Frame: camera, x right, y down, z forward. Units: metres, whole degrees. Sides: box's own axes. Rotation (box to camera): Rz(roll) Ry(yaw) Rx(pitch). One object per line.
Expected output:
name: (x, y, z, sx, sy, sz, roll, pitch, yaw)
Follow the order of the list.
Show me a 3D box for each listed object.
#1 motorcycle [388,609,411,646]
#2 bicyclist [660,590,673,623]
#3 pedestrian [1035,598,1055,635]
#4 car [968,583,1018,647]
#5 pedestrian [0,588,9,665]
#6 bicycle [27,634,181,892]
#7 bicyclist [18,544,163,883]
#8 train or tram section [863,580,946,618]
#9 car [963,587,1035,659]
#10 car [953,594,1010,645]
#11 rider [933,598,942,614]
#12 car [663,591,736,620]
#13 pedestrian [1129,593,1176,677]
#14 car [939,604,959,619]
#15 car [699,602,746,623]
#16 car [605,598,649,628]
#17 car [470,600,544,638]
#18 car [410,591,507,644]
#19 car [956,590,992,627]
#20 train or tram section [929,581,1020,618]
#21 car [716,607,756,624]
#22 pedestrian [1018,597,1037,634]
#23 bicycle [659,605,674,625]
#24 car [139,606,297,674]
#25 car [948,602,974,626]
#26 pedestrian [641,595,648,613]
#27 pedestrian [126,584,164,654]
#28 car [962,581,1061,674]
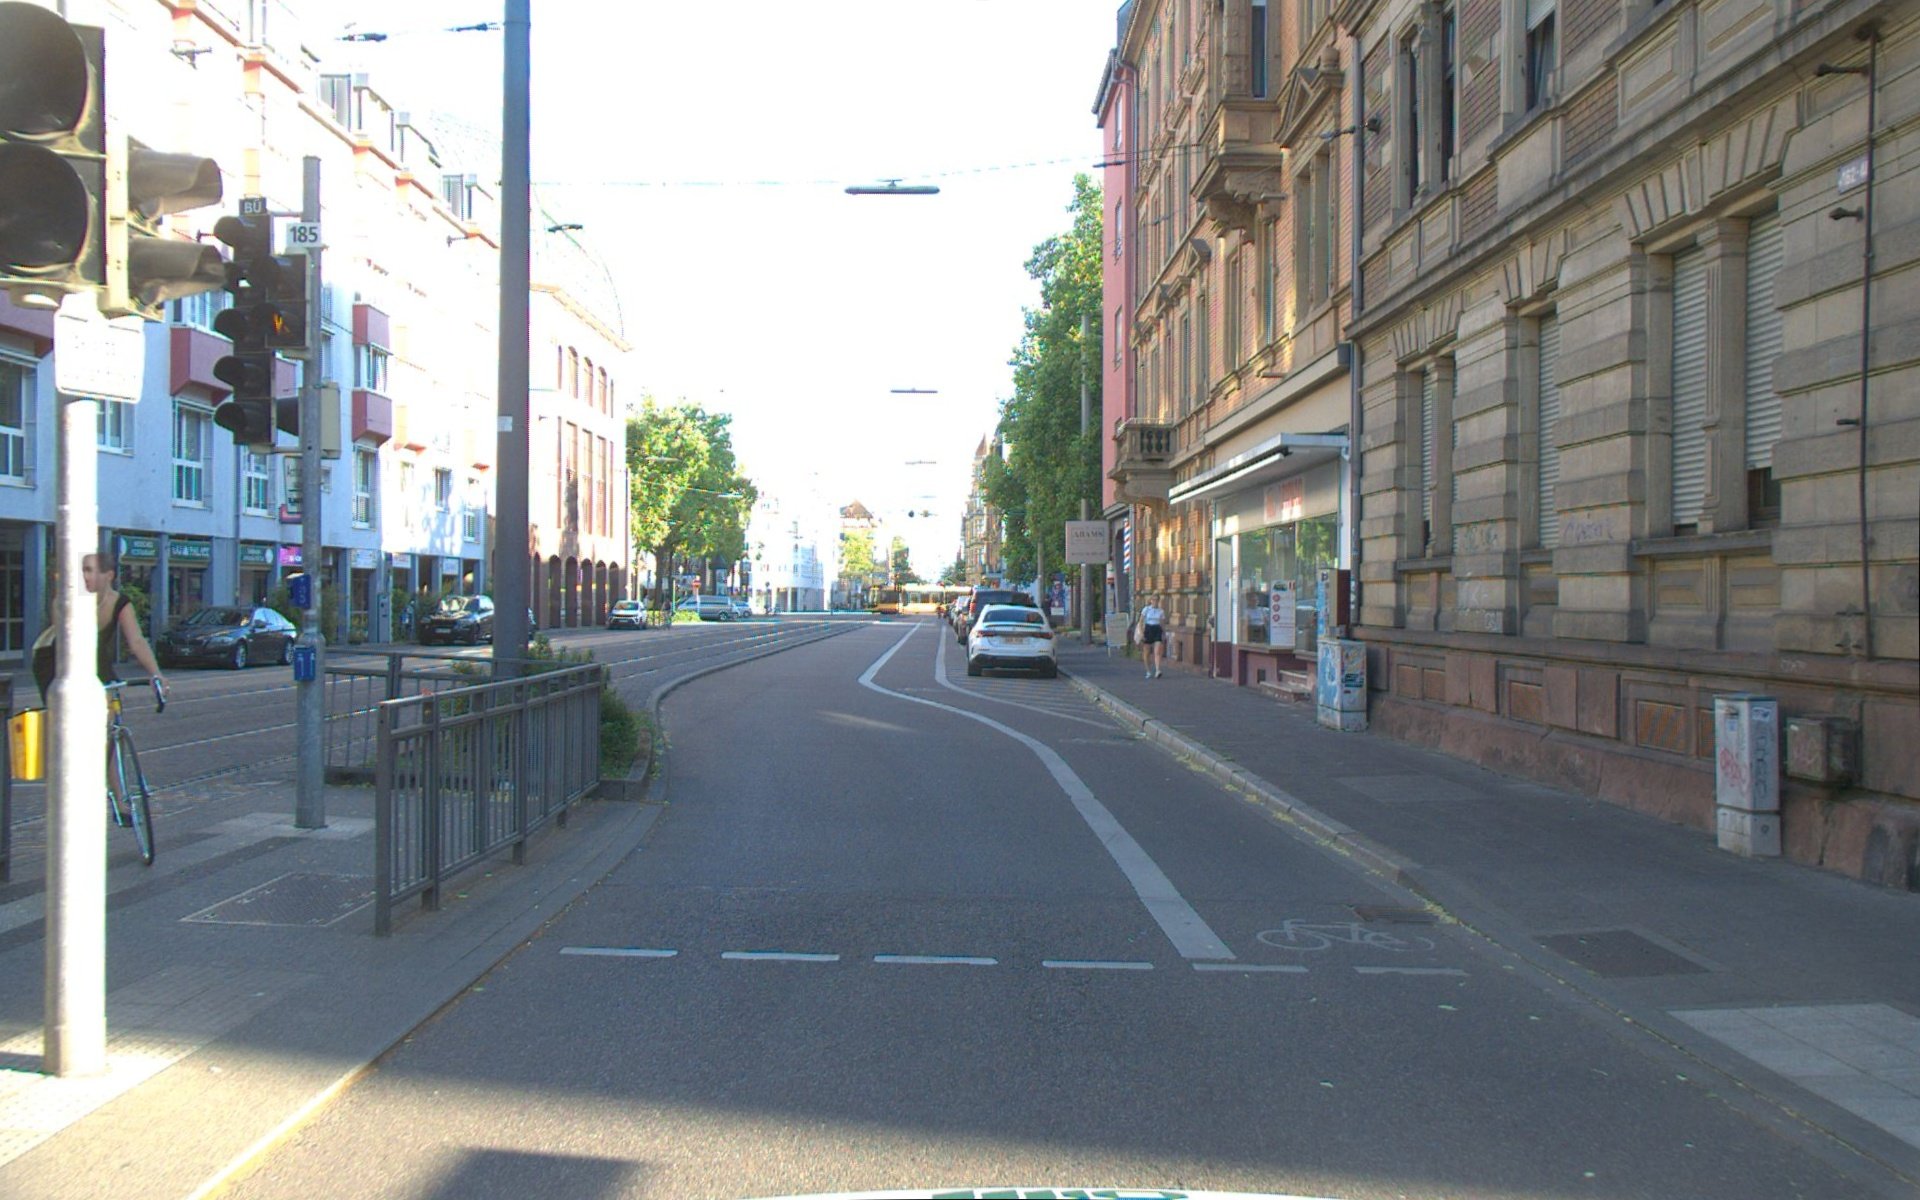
motorcycle: (-19.388, 0.935, 57.225, 0.659, 1.226, 2.130, 2, -1, -17)
bicyclist: (-16.141, 0.358, 90.976, 0.560, 1.742, 0.745, -1, -1, -5)
pedestrian: (3.755, 0.711, 73.195, 0.760, 1.594, 0.914, -3, 0, 0)
car: (1.197, 0.551, 58.398, 1.670, 2.157, 3.707, 1, -1, 2)
pedestrian: (-22.058, 0.587, 37.405, 0.728, 1.742, 0.615, 0, 0, -5)
bicycle: (-4.372, 0.769, 8.453, 0.575, 1.096, 1.882, 3, 0, -28)
bicyclist: (-4.337, 0.538, 8.286, 0.524, 1.605, 0.741, 1, 0, -20)
train or tram section: (-6.566, -0.125, 198.725, 2.649, 4.029, 12.032, 2, -1, 38)
car: (1.086, 0.623, 47.670, 1.915, 1.901, 4.989, 2, 0, 0)
car: (0.800, 0.732, 63.772, 1.910, 1.819, 5.179, 2, 0, -2)
rider: (-2.194, 0.553, 161.727, 0.865, 1.507, 0.713, 2, -1, 0)
car: (-20.663, 0.466, 131.116, 5.203, 2.078, 2.391, 3, -2, -33)
pedestrian: (3.762, 0.672, 32.379, 0.759, 1.594, 0.914, -3, 0, 2)
car: (-1.133, 1.213, 171.727, 2.024, 1.413, 4.224, 3, 0, -1)
car: (-21.598, 1.133, 150.370, 3.831, 1.656, 1.855, 3, 0, -32)
car: (-18.704, 0.699, 93.131, 1.832, 1.628, 4.251, 1, 0, -3)
car: (-18.212, 0.763, 66.613, 1.830, 1.476, 3.584, 2, -1, 2)
car: (-17.821, 0.650, 59.006, 2.048, 1.743, 4.817, 2, -1, -2)
car: (0.782, 0.471, 93.423, 1.930, 2.049, 4.558, -1, 0, 0)
train or tram section: (1.889, -0.049, 207.475, 12.721, 3.946, 2.662, 3, -1, -40)
car: (-21.788, 1.521, 160.853, 3.486, 1.507, 1.564, 3, 0, -33)
pedestrian: (2.995, 0.671, 73.192, 0.760, 1.594, 0.914, -3, 0, 0)
bicycle: (-16.112, 0.818, 90.722, 0.571, 1.096, 2.183, -1, 0, -4)
car: (-17.608, 0.906, 39.490, 1.832, 1.464, 4.704, 1, 0, -3)
car: (0.075, 0.917, 112.175, 1.688, 1.595, 4.082, 0, 0, -1)
pedestrian: (-24.312, 0.336, 127.537, 0.357, 1.367, 0.480, 3, -1, -21)
pedestrian: (-20.663, 0.471, 41.950, 0.601, 1.742, 0.745, 0, 0, -3)
car: (1.045, 0.571, 35.719, 1.926, 1.802, 4.875, 2, 0, 0)
